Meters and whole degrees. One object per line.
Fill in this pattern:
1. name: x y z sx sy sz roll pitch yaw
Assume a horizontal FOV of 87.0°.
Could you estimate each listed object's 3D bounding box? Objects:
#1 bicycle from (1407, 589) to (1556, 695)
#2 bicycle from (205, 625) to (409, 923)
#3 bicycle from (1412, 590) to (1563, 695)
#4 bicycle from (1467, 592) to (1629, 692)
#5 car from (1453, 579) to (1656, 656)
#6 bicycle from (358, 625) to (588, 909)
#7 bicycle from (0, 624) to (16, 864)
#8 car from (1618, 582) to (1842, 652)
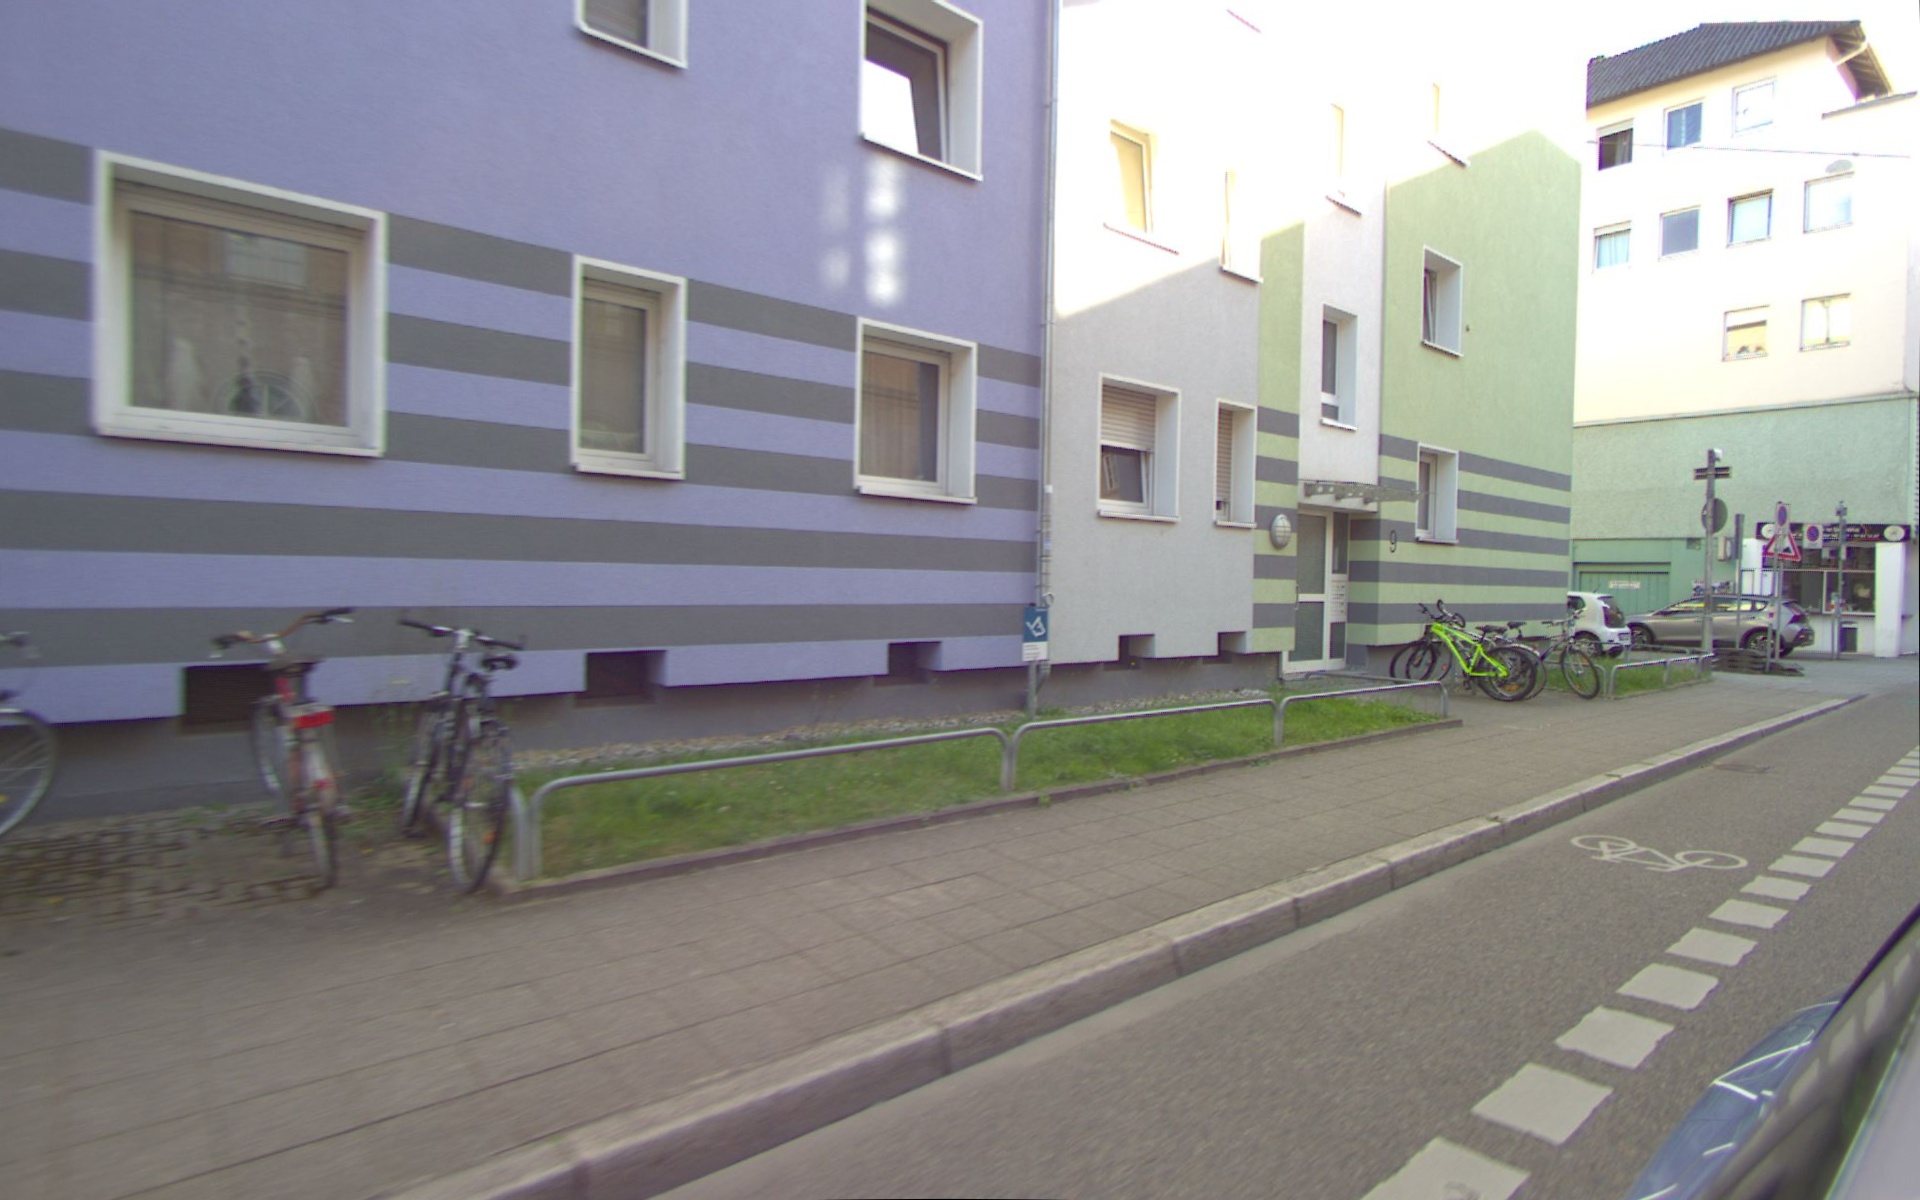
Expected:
1. bicycle: 6.576 0.499 12.824 1.602 1.155 0.234 6 4 42
2. bicycle: -2.968 0.655 4.526 0.542 0.958 1.752 -1 3 -40
3. bicycle: 6.754 0.516 13.029 1.640 1.155 0.279 6 4 42
4. bicycle: 7.951 0.533 13.759 0.542 1.155 1.753 1 4 -40
5. car: 13.261 0.323 22.720 1.679 1.500 3.554 -1 3 -39
6. bicycle: -2.321 0.660 4.706 0.542 0.958 1.752 -1 3 -40
7. bicycle: -4.038 0.636 4.003 0.320 0.958 1.752 -1 3 -39
8. car: 18.837 0.353 24.894 1.832 1.500 4.087 -1 2 -40
